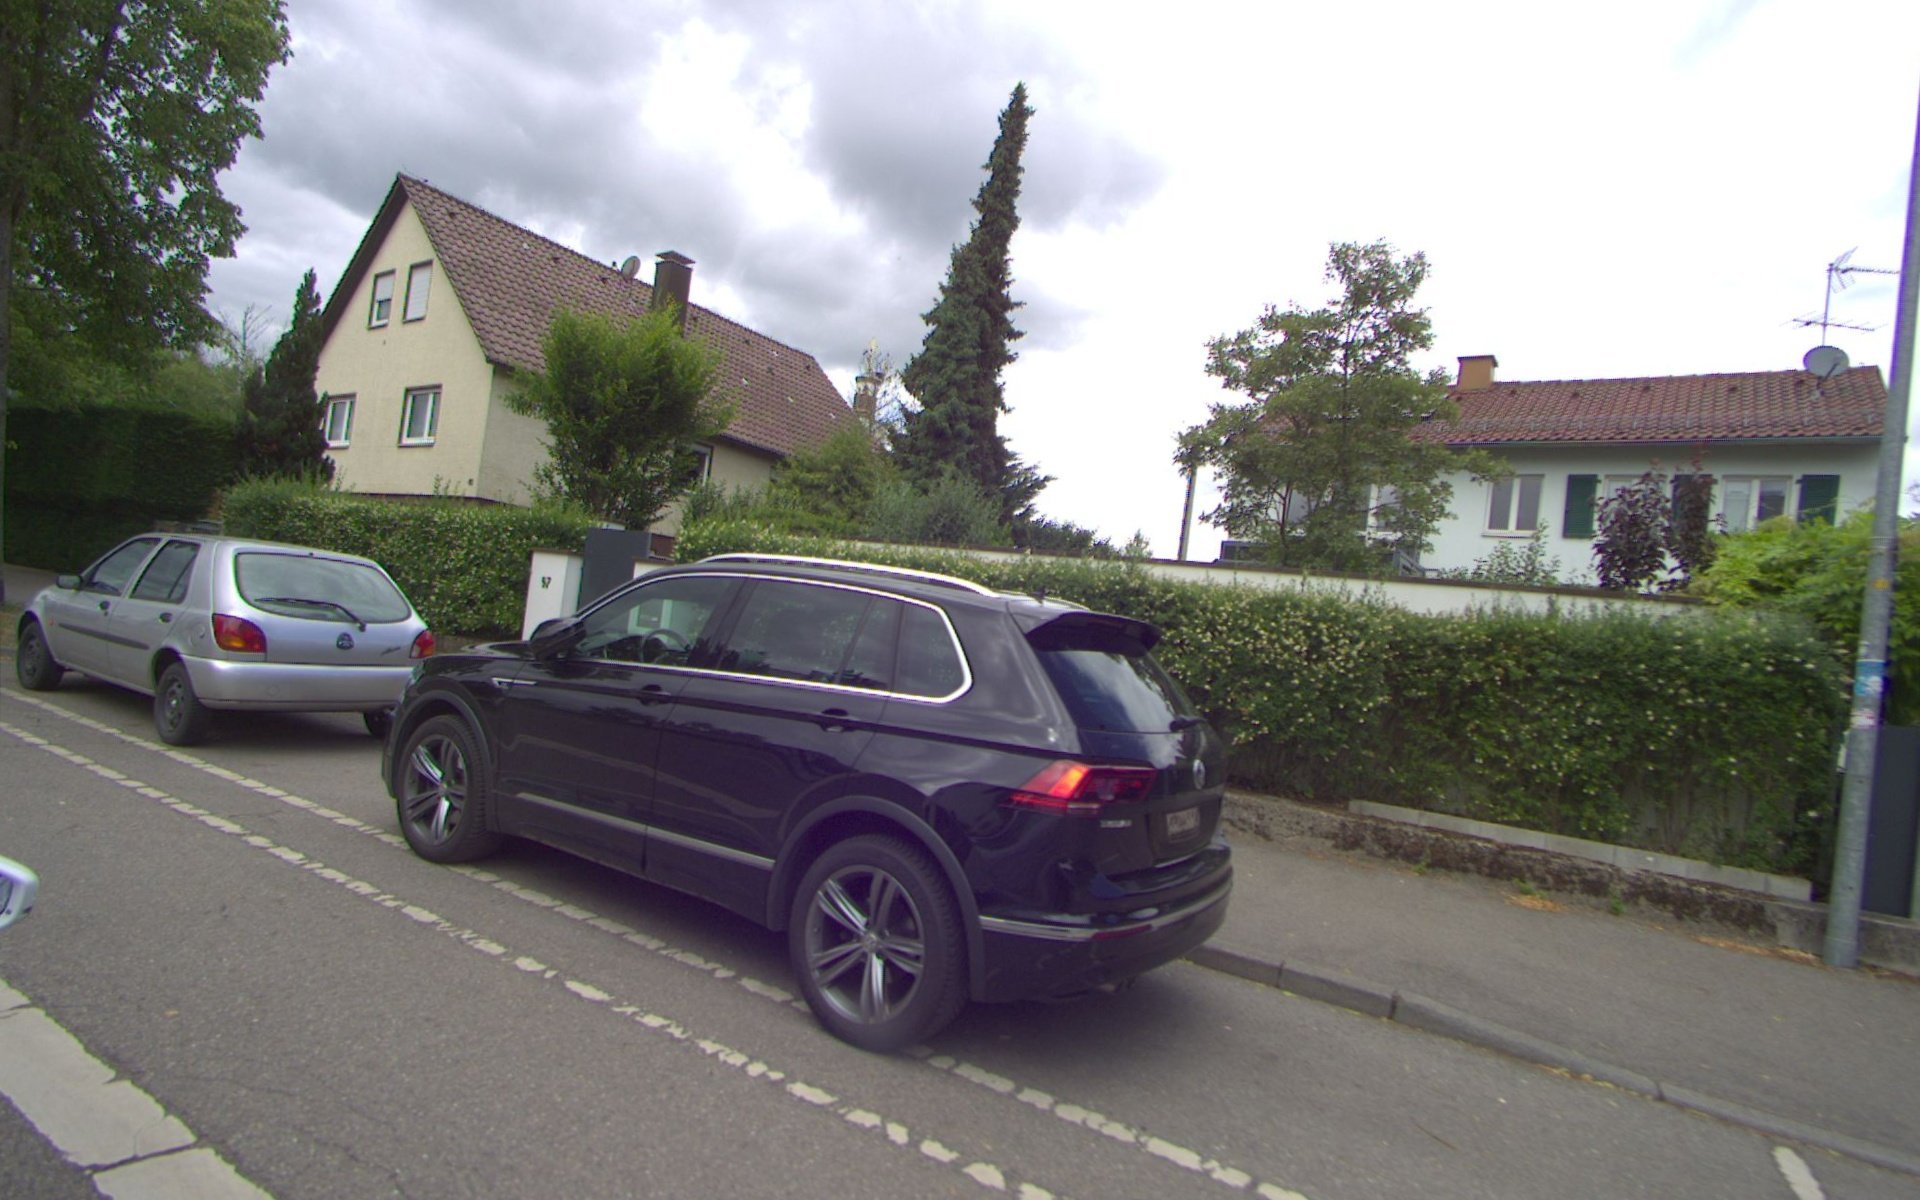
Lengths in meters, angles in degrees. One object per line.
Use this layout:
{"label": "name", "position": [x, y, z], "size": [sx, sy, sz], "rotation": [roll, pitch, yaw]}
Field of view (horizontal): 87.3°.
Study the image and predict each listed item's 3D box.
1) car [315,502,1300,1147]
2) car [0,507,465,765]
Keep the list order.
{"label": "car", "position": [-0.943, 0.621, 4.855], "size": [4.472, 1.655, 1.769], "rotation": [7, -1, 32]}
{"label": "car", "position": [-5.634, 0.198, 7.704], "size": [3.480, 1.367, 1.560], "rotation": [7, 0, 31]}
